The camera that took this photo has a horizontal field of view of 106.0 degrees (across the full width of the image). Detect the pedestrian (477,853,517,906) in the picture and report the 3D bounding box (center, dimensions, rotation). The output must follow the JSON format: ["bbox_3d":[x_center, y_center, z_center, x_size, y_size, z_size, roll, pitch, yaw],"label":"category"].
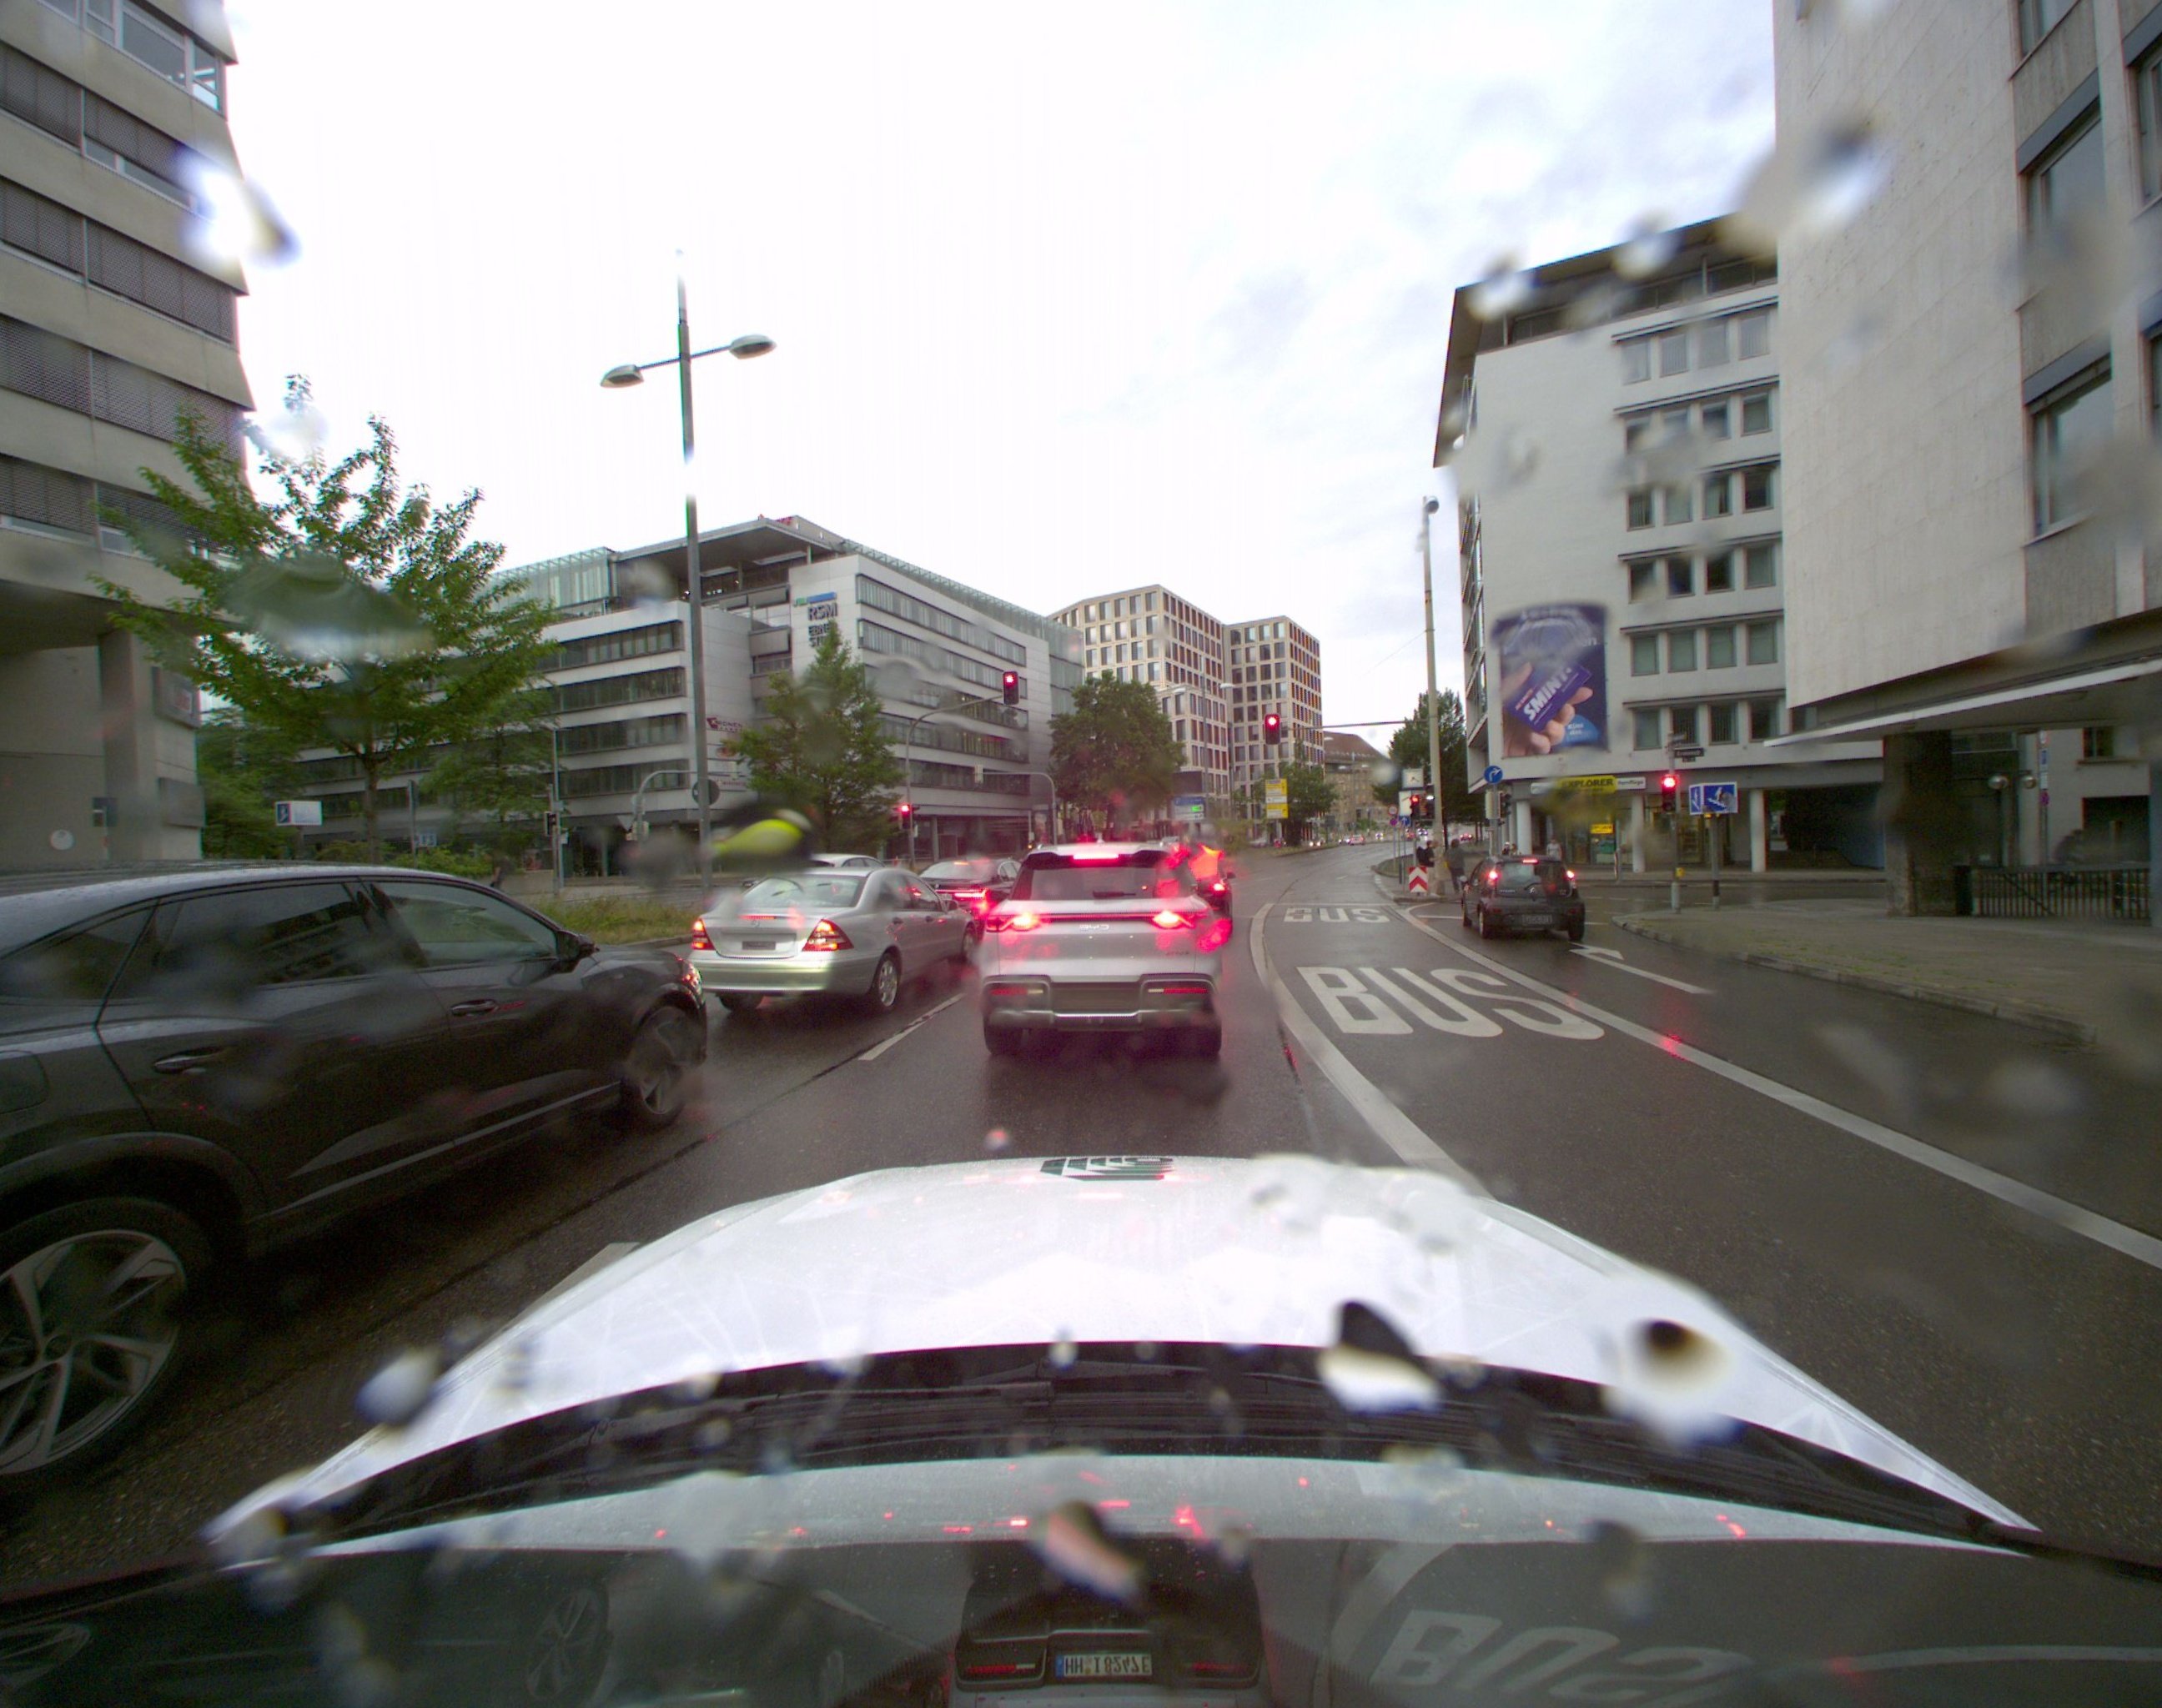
[{"bbox_3d":[-18.908,0.818,26.388,0.672,1.683,0.766,-1,0,15],"label":"pedestrian"}]

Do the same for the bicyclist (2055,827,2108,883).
[{"bbox_3d":[28.442,0.018,23.164,0.761,1.569,0.535,-1,0,20],"label":"bicyclist"}]

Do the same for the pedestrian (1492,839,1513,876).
[{"bbox_3d":[18.986,0.143,36.681,0.657,1.655,0.662,-1,0,-45],"label":"pedestrian"}]

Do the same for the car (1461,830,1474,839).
[{"bbox_3d":[70.776,-3.584,148.974,1.677,1.486,4.025,-1,-1,32],"label":"car"}]

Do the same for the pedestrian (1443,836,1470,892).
[{"bbox_3d":[12.278,0.330,26.646,0.742,1.798,0.821,-1,1,22],"label":"pedestrian"}]

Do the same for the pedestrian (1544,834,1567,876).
[{"bbox_3d":[20.538,0.038,35.243,0.778,1.794,0.662,-1,0,-45],"label":"pedestrian"}]

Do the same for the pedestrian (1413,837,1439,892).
[{"bbox_3d":[11.461,0.343,27.085,0.742,1.798,0.821,-1,1,22],"label":"pedestrian"}]

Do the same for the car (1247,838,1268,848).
[{"bbox_3d":[26.474,-1.662,122.210,1.974,1.488,4.025,-1,1,29],"label":"car"}]

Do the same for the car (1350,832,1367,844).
[{"bbox_3d":[39.160,-2.187,115.053,1.871,1.643,4.023,-1,0,24],"label":"car"}]

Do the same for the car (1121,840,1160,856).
[{"bbox_3d":[6.373,-0.659,86.441,1.796,1.510,5.229,-1,1,32],"label":"car"}]

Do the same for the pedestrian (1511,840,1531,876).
[{"bbox_3d":[19.490,0.175,36.074,0.657,1.543,0.618,-1,0,-45],"label":"pedestrian"}]

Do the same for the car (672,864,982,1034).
[{"bbox_3d":[-2.451,0.836,9.031,1.561,1.407,4.120,-1,-1,10],"label":"car"}]

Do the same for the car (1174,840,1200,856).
[{"bbox_3d":[10.946,-0.625,83.902,1.629,1.581,4.108,-1,0,23],"label":"car"}]

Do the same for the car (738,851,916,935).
[{"bbox_3d":[-4.961,0.706,16.522,1.696,1.486,4.013,-1,-1,11],"label":"car"}]

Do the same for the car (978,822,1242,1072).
[{"bbox_3d":[0.326,0.646,7.507,1.768,1.679,4.004,-1,-1,4],"label":"car"}]

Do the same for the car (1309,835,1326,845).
[{"bbox_3d":[41.623,-2.469,143.259,1.974,1.488,4.025,-1,1,29],"label":"car"}]

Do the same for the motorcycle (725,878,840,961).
[{"bbox_3d":[-4.762,1.001,13.158,0.795,1.185,2.034,-1,-1,11],"label":"motorcycle"}]

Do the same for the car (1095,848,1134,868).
[{"bbox_3d":[2.529,0.315,60.343,1.675,1.385,3.888,-1,-1,21],"label":"car"}]

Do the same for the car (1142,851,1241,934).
[{"bbox_3d":[2.376,0.711,16.706,1.682,1.486,4.013,-1,-1,12],"label":"car"}]

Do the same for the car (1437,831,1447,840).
[{"bbox_3d":[87.467,-4.459,197.267,1.975,2.013,4.025,-1,0,29],"label":"car"}]

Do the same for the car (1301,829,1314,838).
[{"bbox_3d":[45.239,-4.143,162.733,1.590,1.741,3.467,-1,-1,34],"label":"car"}]

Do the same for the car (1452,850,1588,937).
[{"bbox_3d":[8.166,0.669,15.478,1.558,1.429,4.018,-1,-1,18],"label":"car"}]

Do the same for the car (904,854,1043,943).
[{"bbox_3d":[-1.917,0.770,15.735,1.561,1.486,4.010,-1,-1,9],"label":"car"}]

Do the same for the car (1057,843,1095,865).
[{"bbox_3d":[-0.361,-0.023,61.638,1.630,1.536,4.172,-1,0,18],"label":"car"}]

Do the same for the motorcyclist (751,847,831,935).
[{"bbox_3d":[-4.730,0.580,13.345,0.765,1.380,1.121,-1,-1,10],"label":"motorcyclist"}]

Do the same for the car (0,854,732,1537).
[{"bbox_3d":[-3.216,0.784,3.246,1.642,1.521,4.274,-1,0,2],"label":"car"}]

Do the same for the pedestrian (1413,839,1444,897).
[{"bbox_3d":[10.468,0.424,24.529,0.764,1.731,0.599,-1,0,16],"label":"pedestrian"}]

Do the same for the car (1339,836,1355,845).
[{"bbox_3d":[48.702,-2.462,149.288,1.974,1.488,4.025,-1,1,29],"label":"car"}]

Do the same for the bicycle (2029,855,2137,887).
[{"bbox_3d":[28.455,0.496,23.160,2.008,0.888,0.405,-1,0,19],"label":"bicycle"}]

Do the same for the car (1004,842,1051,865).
[{"bbox_3d":[-4.044,-0.061,62.059,1.976,1.610,4.022,-1,0,22],"label":"car"}]

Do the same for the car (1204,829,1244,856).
[{"bbox_3d":[11.480,-0.872,65.064,1.975,2.014,4.876,-1,-1,25],"label":"car"}]
